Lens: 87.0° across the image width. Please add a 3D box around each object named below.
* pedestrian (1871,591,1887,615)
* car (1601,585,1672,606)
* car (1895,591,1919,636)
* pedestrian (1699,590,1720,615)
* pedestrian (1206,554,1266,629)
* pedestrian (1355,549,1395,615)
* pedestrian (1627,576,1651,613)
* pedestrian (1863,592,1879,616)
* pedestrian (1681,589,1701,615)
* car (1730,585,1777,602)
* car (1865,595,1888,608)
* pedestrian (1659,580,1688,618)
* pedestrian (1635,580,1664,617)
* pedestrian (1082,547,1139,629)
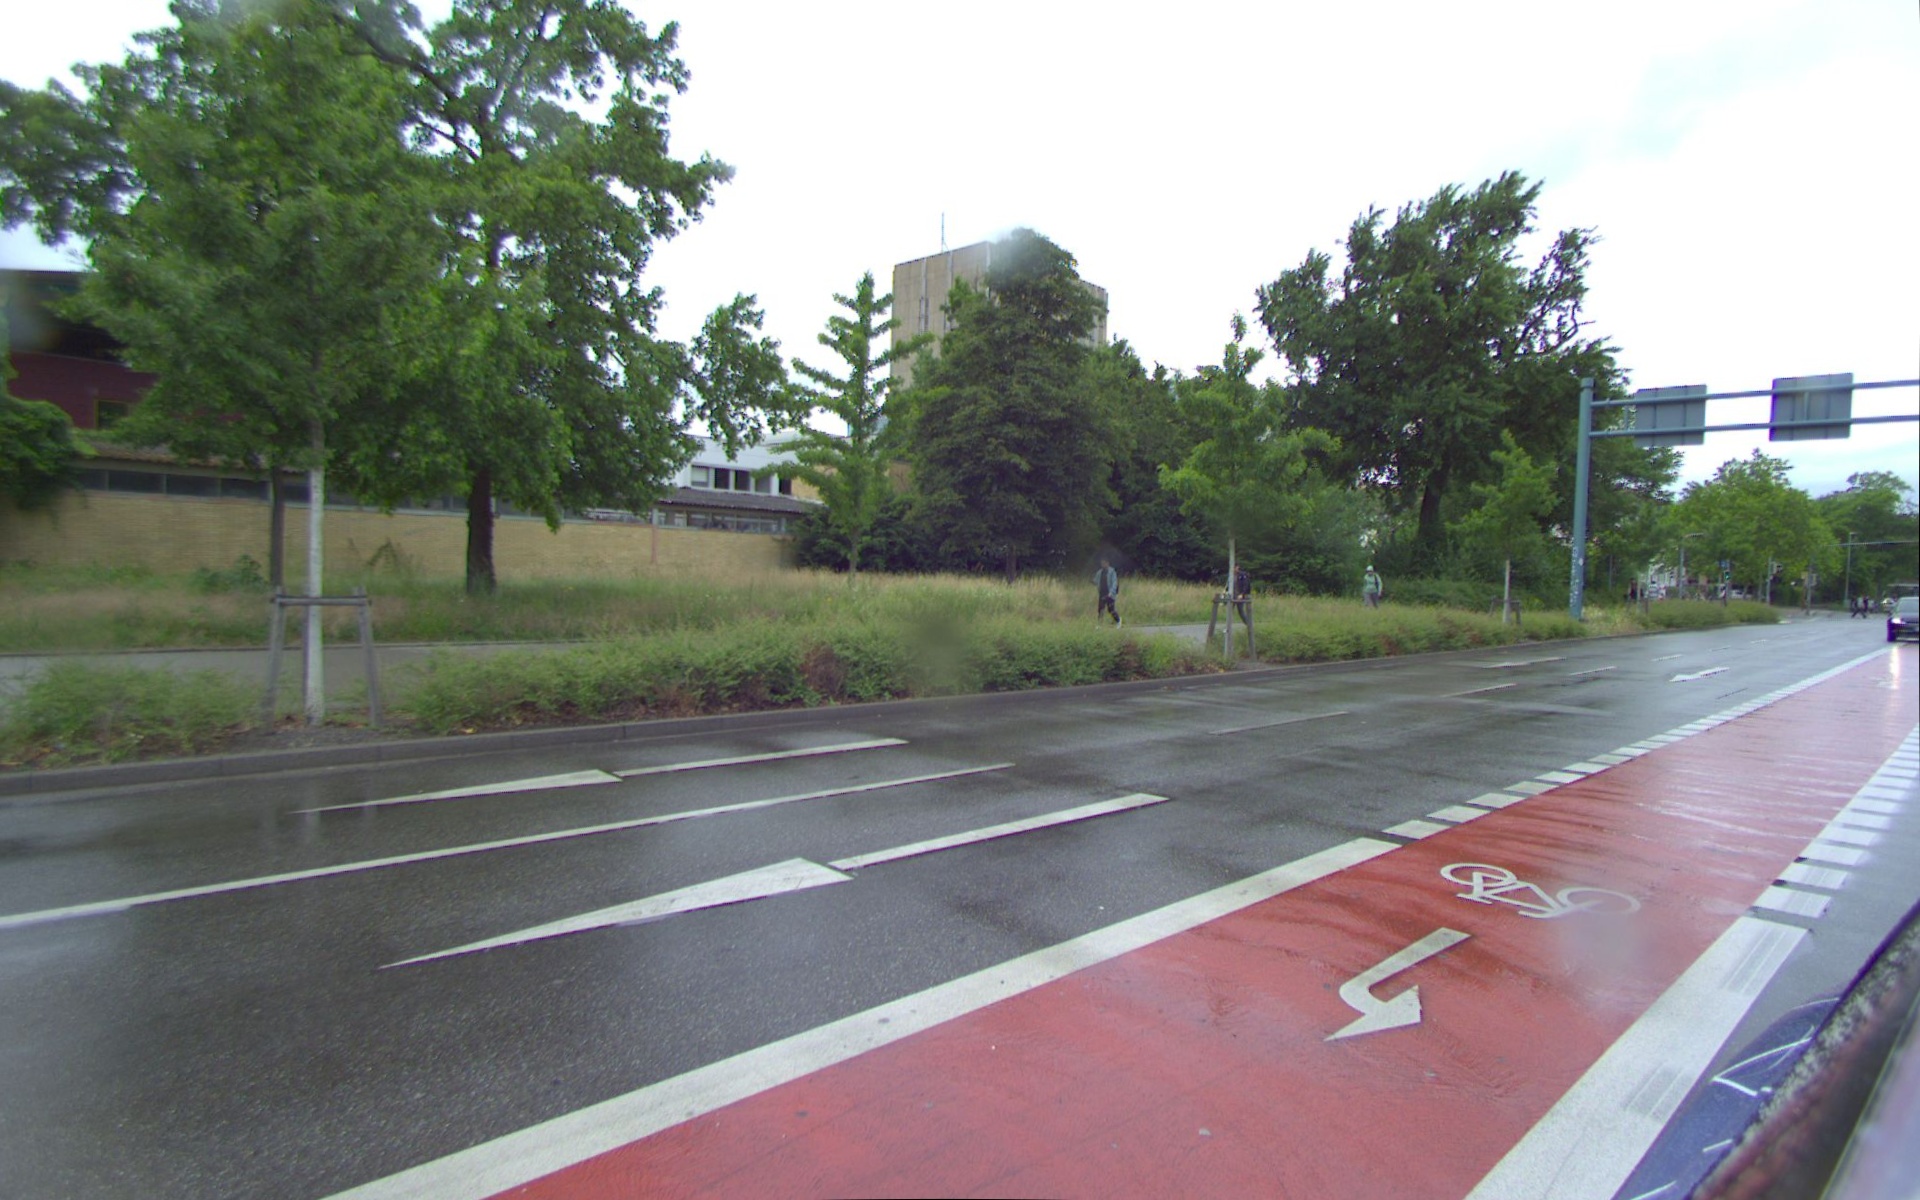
[{"bbox_3d":[71.110,0.223,78.302,0.613,1.847,0.786,1,2,-39],"label":"pedestrian"},{"bbox_3d":[53.170,-0.383,79.566,4.375,1.353,1.747,4,5,43],"label":"car"},{"bbox_3d":[31.705,0.444,33.019,1.657,1.381,4.042,4,2,44],"label":"car"},{"bbox_3d":[49.296,0.147,66.605,0.868,1.627,0.857,3,2,24],"label":"pedestrian"},{"bbox_3d":[6.741,-0.210,24.700,1.026,1.769,0.936,1,2,-38],"label":"pedestrian"},{"bbox_3d":[13.129,-0.577,31.990,0.813,2.038,0.793,1,2,-38],"label":"pedestrian"},{"bbox_3d":[35.128,-0.292,52.337,0.835,1.882,0.732,1,2,-38],"label":"pedestrian"},{"bbox_3d":[70.024,0.289,77.809,0.614,1.847,0.785,1,2,-43],"label":"pedestrian"},{"bbox_3d":[48.415,0.121,67.015,0.868,1.627,0.856,3,2,26],"label":"pedestrian"},{"bbox_3d":[97.502,-0.848,124.416,4.405,1.895,1.615,3,2,39],"label":"car"},{"bbox_3d":[96.336,0.117,106.334,1.657,1.282,4.042,4,3,44],"label":"car"},{"bbox_3d":[34.097,-0.043,48.353,0.814,1.743,0.935,4,-2,-39],"label":"pedestrian"},{"bbox_3d":[33.518,-0.068,49.172,0.814,1.725,0.935,4,-2,-39],"label":"pedestrian"},{"bbox_3d":[3.462,-0.289,23.292,0.813,1.819,0.936,1,2,-37],"label":"pedestrian"}]
